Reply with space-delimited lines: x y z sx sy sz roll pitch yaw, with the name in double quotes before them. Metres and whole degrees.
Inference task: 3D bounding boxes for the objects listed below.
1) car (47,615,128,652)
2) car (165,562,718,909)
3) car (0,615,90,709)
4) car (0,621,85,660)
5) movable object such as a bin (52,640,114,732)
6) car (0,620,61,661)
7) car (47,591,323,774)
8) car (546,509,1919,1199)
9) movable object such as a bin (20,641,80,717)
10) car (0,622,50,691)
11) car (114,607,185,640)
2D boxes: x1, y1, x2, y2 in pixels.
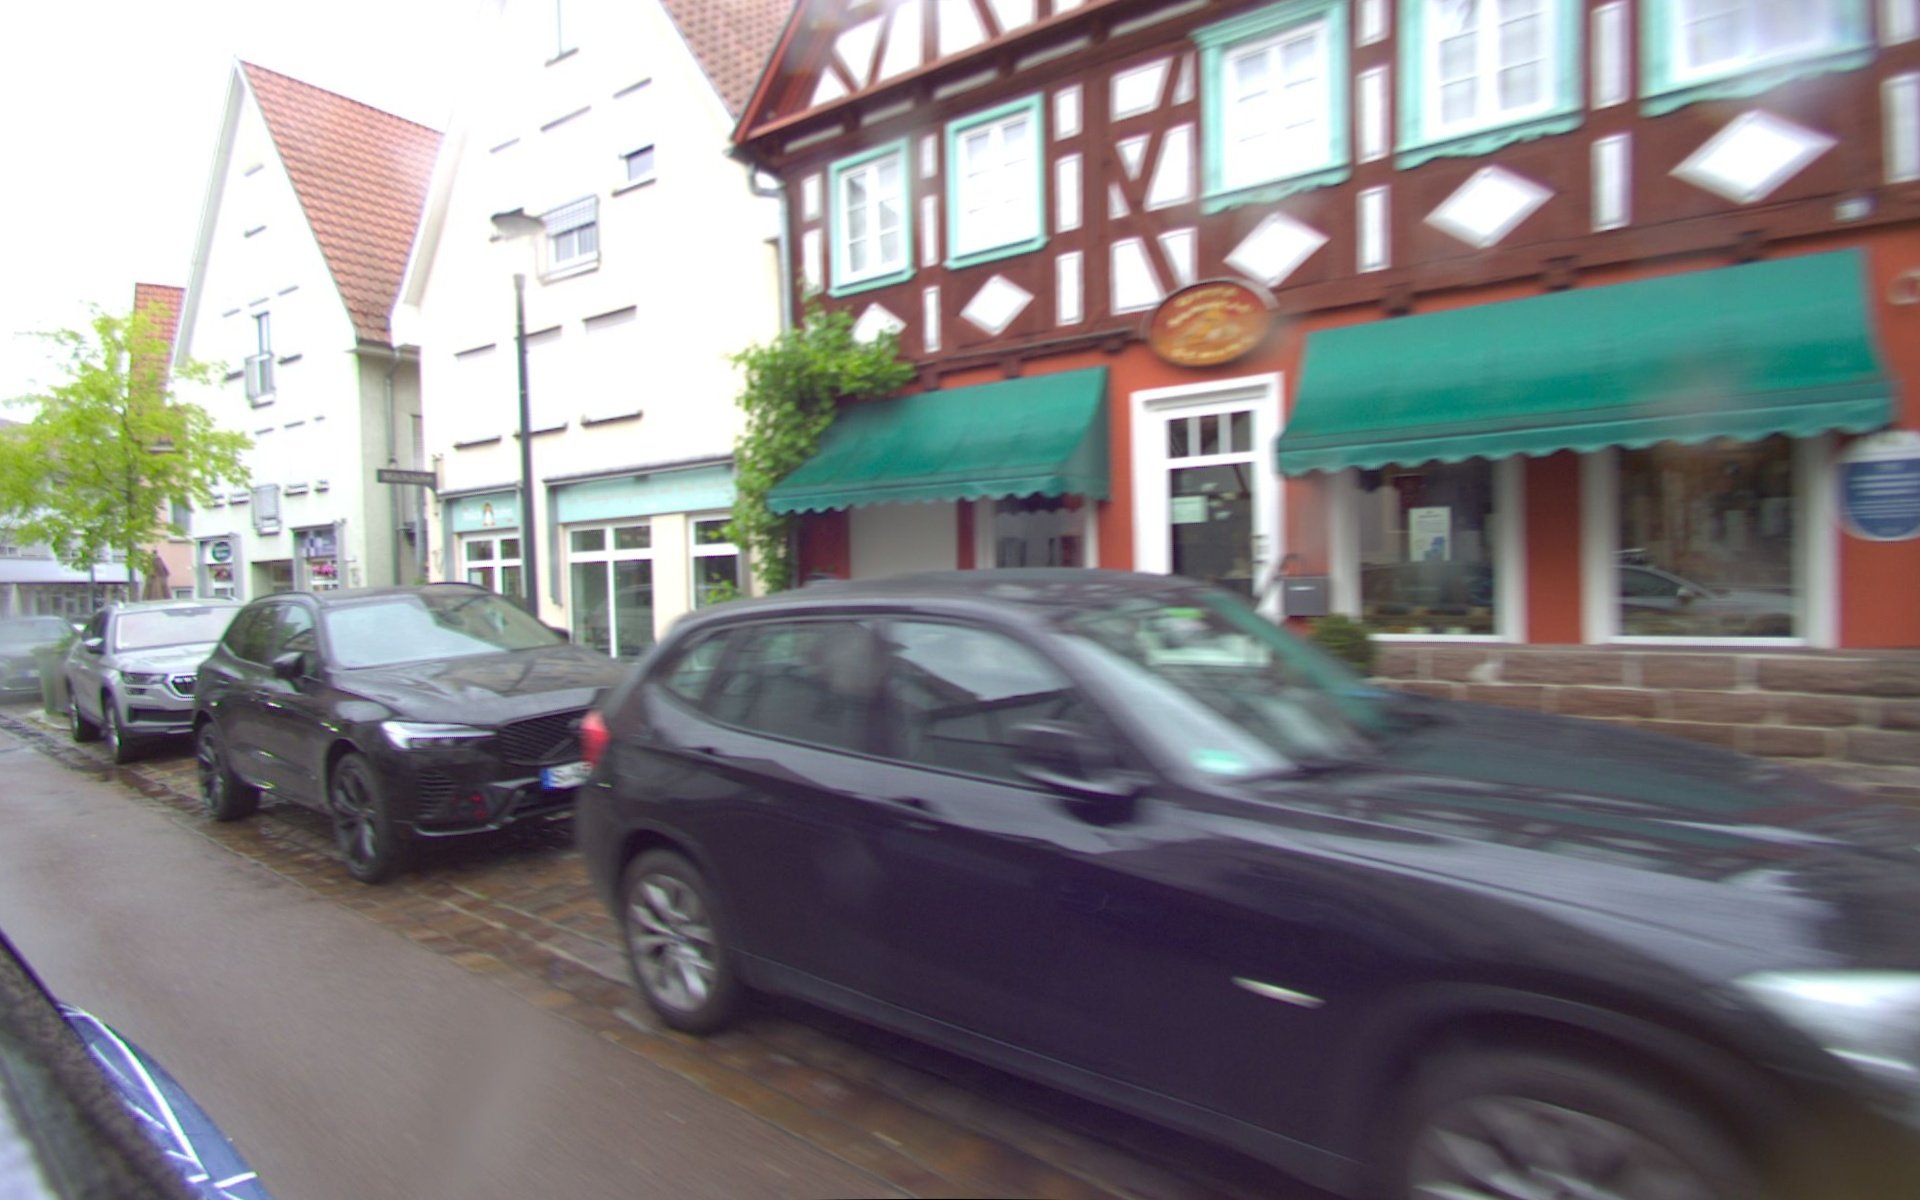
"car" -45.780 1.713 53.194 1.666 1.702 4.292 -1 1 -18
"car" -3.827 0.640 7.069 4.537 1.687 1.815 0 1 40
"car" -17.918 1.110 19.270 3.976 1.557 1.576 0 1 42
"car" -40.197 1.710 43.889 1.966 1.464 4.012 -1 1 -17
"movable object such as a bin" -12.279 1.182 14.176 0.523 1.210 0.595 0 1 44
"car" -43.801 1.866 46.824 1.667 1.702 3.969 -1 1 -15
"car" -9.194 0.781 11.860 4.479 1.687 1.753 0 2 42
"car" 0.638 0.639 3.188 4.278 1.563 1.815 0 1 40
"movable object such as a bin" -14.043 1.202 15.621 0.725 1.087 0.614 0 1 43
"car" -22.373 1.291 22.876 4.619 1.443 1.785 -2 0 37
"car" -36.855 1.045 46.136 1.666 1.433 3.829 -1 0 -25
